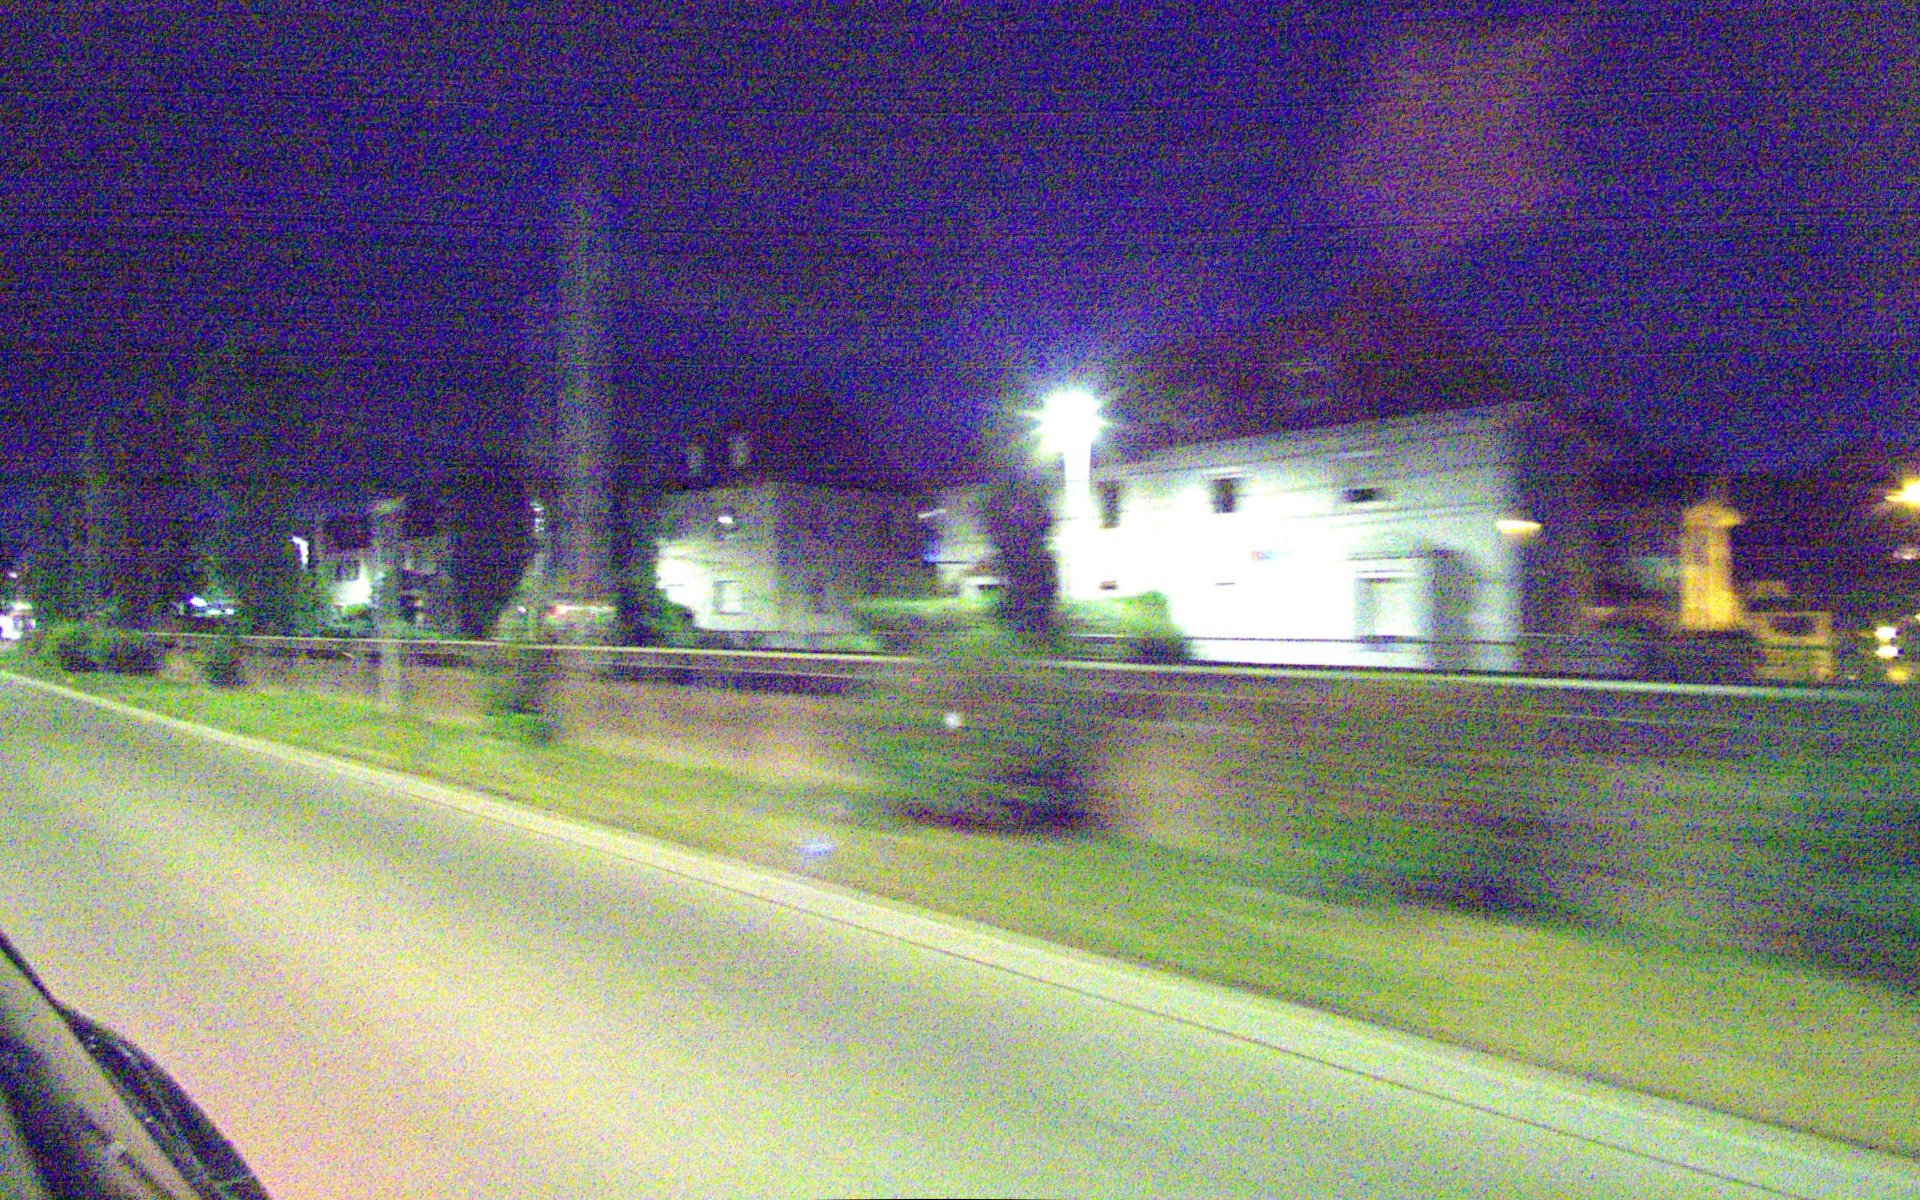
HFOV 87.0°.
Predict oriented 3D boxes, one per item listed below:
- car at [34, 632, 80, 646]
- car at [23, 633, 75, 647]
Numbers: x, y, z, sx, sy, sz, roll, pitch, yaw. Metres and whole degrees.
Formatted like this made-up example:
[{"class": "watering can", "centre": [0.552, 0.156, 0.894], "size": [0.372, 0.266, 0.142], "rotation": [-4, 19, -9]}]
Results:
[{"class": "car", "centre": [-108.906, 4.704, 122.074], "size": [1.999, 1.630, 3.945], "rotation": [-3, -3, 41]}, {"class": "car", "centre": [-111.164, 4.874, 123.502], "size": [2.022, 1.573, 4.280], "rotation": [-2, -3, 31]}]
